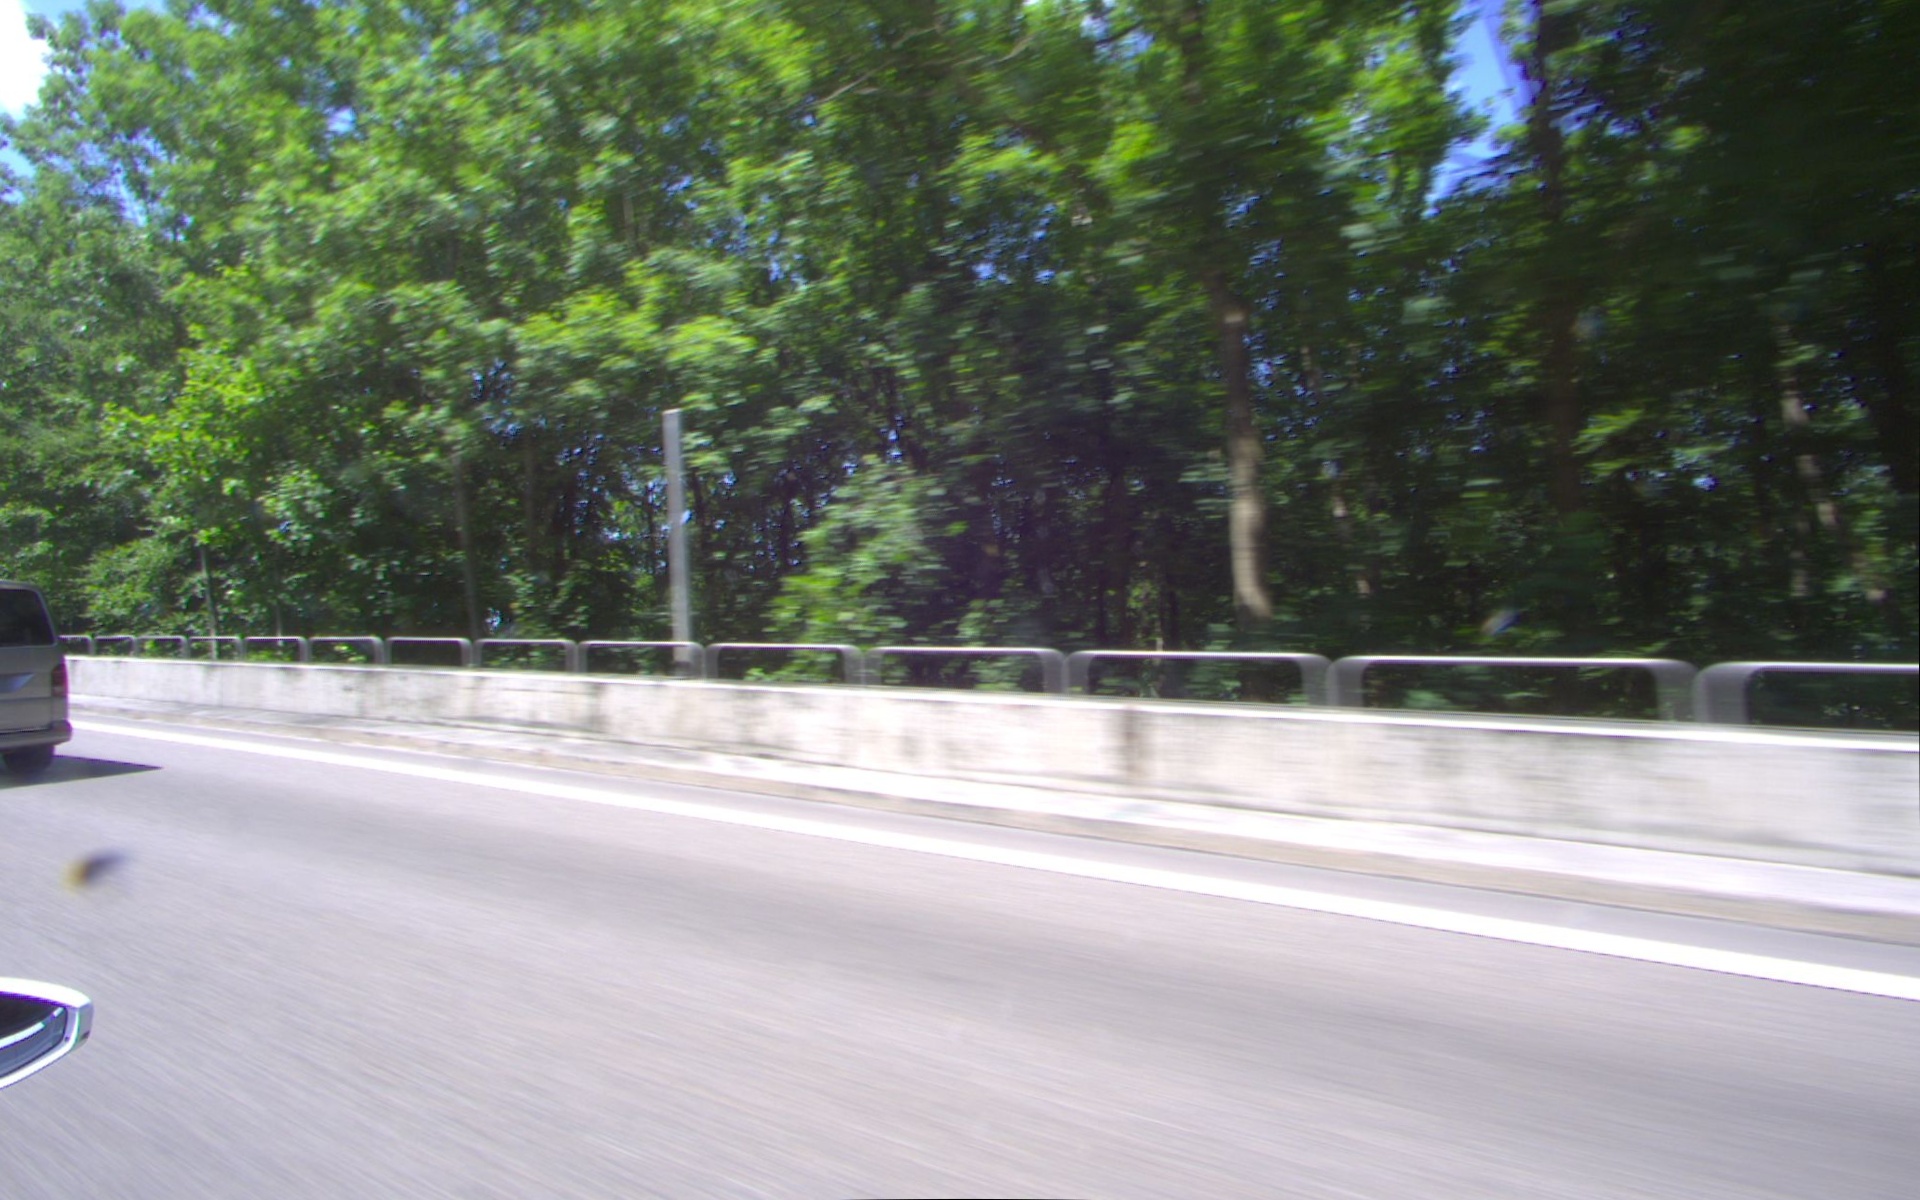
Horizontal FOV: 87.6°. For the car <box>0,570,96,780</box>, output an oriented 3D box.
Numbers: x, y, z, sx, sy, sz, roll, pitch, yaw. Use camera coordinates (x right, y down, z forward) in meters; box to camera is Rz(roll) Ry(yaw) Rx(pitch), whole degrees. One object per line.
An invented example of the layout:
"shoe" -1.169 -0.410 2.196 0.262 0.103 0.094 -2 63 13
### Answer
"car" -11.057 0.720 10.196 4.622 1.956 1.939 -1 -1 29
